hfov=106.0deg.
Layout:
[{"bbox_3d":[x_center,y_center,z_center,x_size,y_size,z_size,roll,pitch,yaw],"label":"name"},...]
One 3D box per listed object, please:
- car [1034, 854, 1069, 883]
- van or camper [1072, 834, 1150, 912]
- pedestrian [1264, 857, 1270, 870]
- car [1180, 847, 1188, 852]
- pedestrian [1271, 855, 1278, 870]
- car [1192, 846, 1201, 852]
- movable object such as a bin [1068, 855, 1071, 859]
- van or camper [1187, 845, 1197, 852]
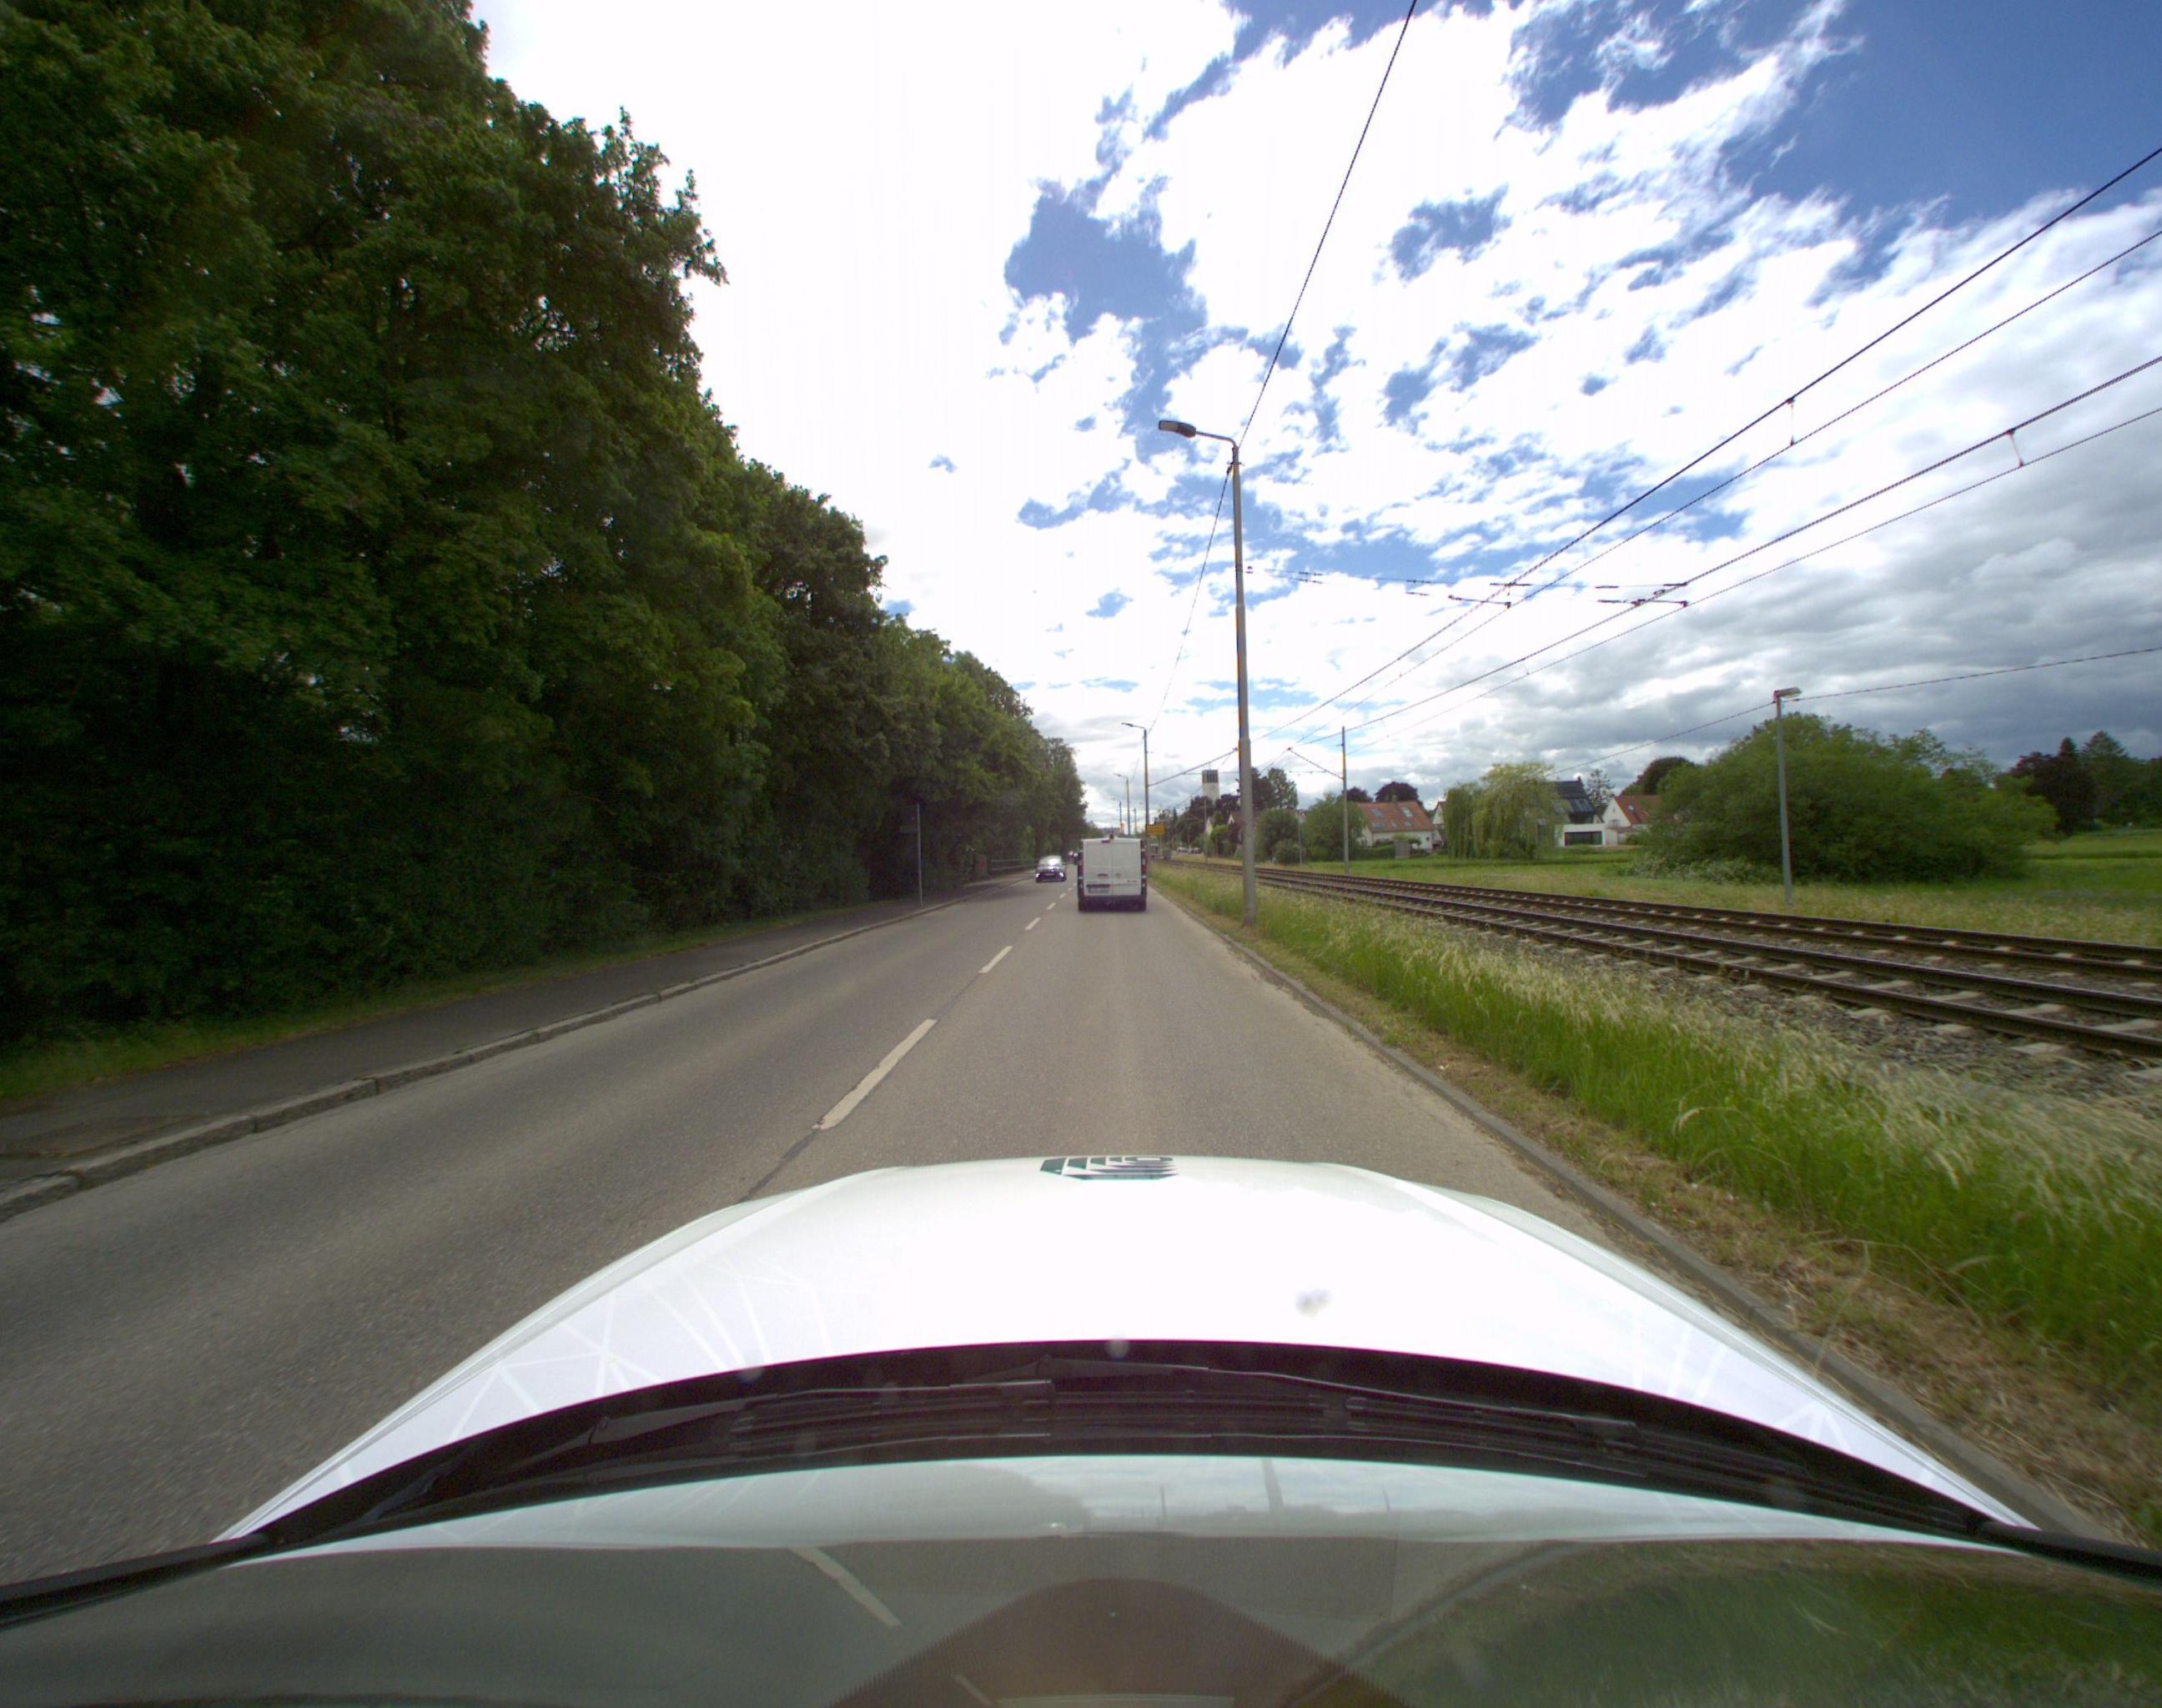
[{"bbox_3d":[-1.678,0.805,47.972,1.700,1.528,3.826,-3,0,2],"label":"car"},{"bbox_3d":[0.858,0.497,23.282,1.986,2.014,4.448,-1,0,2],"label":"van or camper"},{"bbox_3d":[20.528,1.044,89.896,0.595,1.430,0.667,0,0,2],"label":"pedestrian"},{"bbox_3d":[29.874,-1.240,235.571,1.876,1.522,4.003,-2,0,2],"label":"car"},{"bbox_3d":[21.352,0.933,89.818,0.614,1.622,0.584,0,0,1],"label":"pedestrian"},{"bbox_3d":[28.695,-1.214,202.977,1.876,1.522,4.003,-2,0,2],"label":"car"},{"bbox_3d":[-2.500,0.696,179.067,0.512,0.945,0.568,-1,0,1],"label":"movable object such as a bin"},{"bbox_3d":[29.170,-1.393,213.865,1.898,1.826,5.050,-2,0,2],"label":"van or camper"}]
